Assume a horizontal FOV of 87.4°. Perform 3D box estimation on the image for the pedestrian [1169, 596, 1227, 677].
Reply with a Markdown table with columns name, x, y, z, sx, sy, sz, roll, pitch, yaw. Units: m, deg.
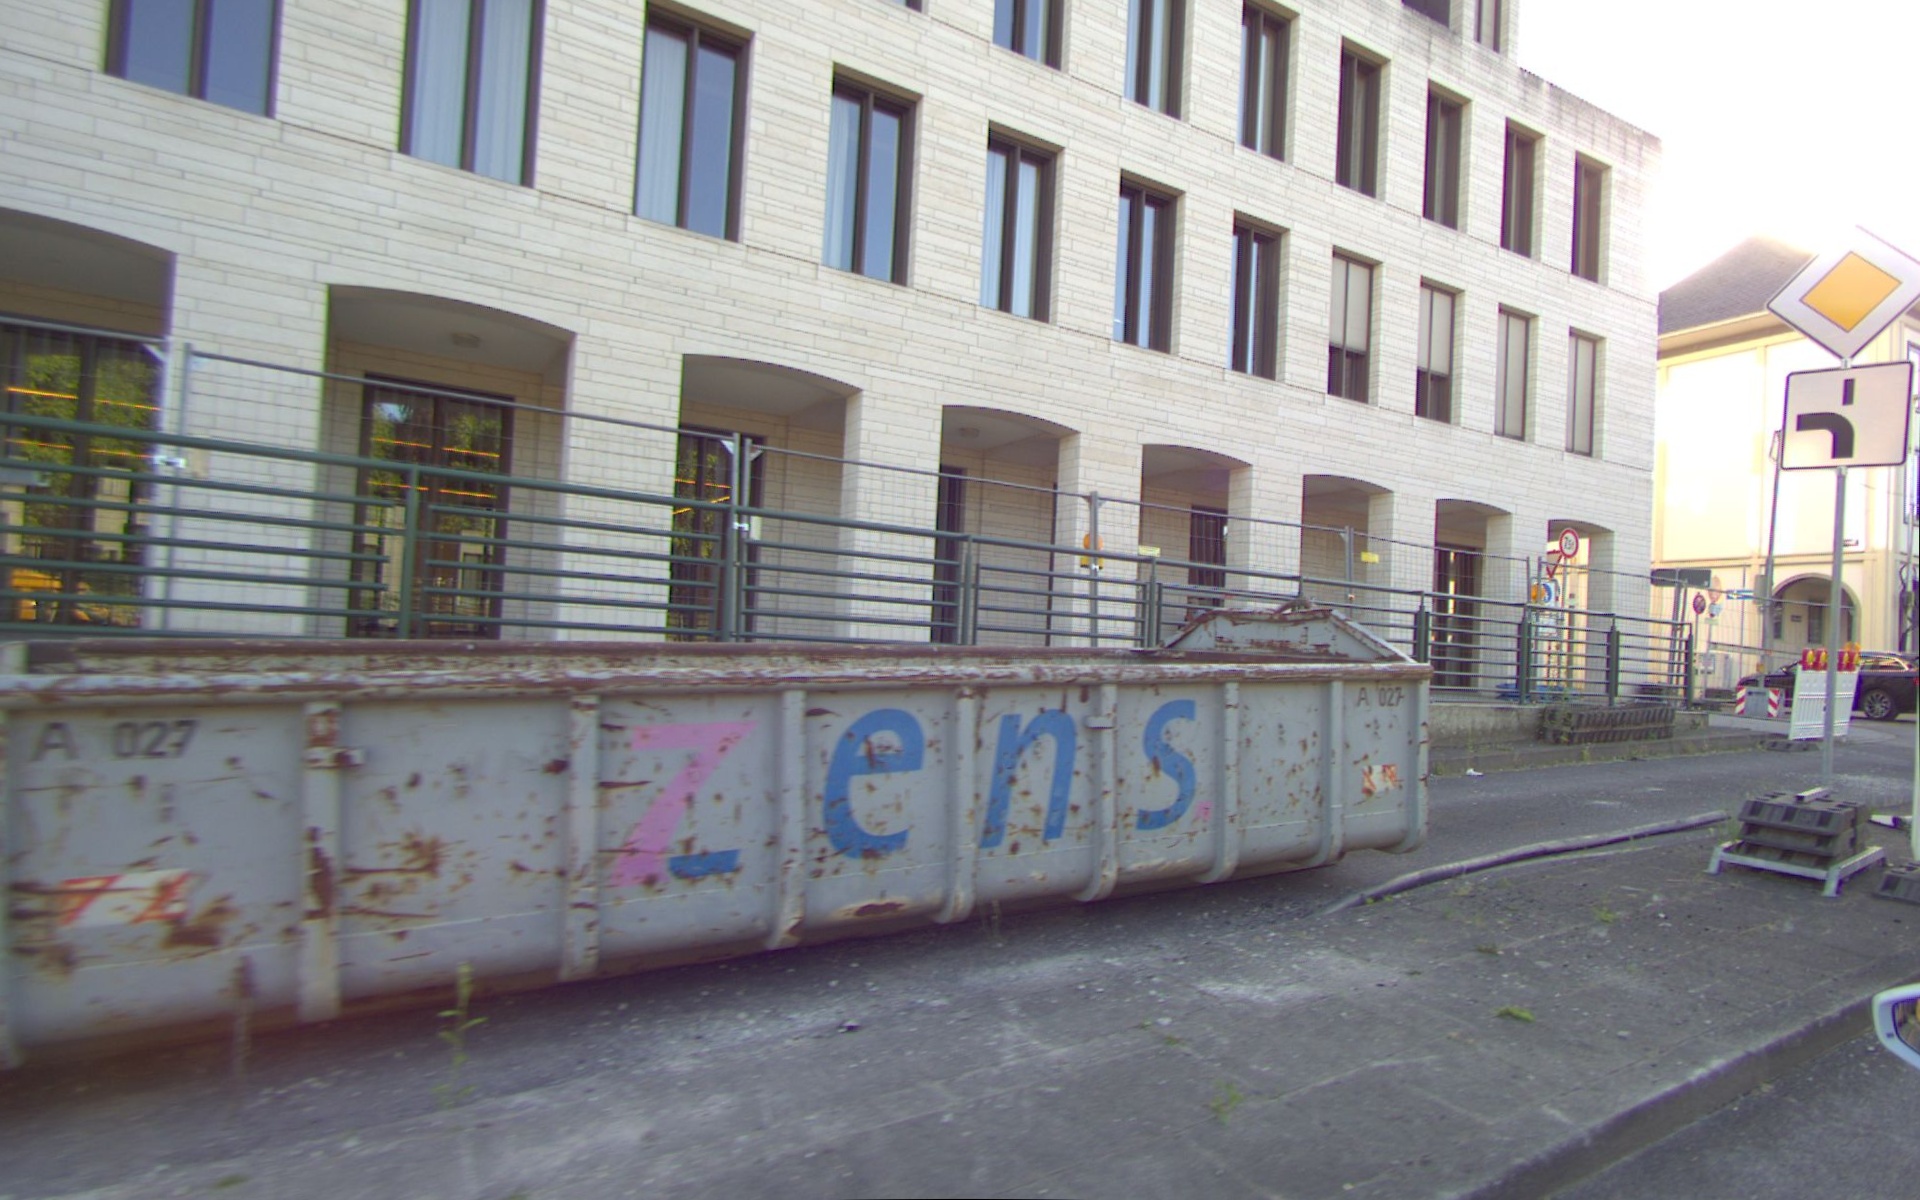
| name | x | y | z | sx | sy | sz | roll | pitch | yaw |
| --- | --- | --- | --- | --- | --- | --- | --- | --- | --- |
| pedestrian | 4.533 | 0.694 | 19.166 | 0.788 | 1.507 | 0.668 | 0 | -3 | -29 |

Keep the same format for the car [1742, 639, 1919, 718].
| name | x | y | z | sx | sy | sz | roll | pitch | yaw |
| --- | --- | --- | --- | --- | --- | --- | --- | --- | --- |
| car | 19.996 | 1.701 | 22.281 | 1.748 | 1.570 | 4.100 | 2 | -2 | -9 |
